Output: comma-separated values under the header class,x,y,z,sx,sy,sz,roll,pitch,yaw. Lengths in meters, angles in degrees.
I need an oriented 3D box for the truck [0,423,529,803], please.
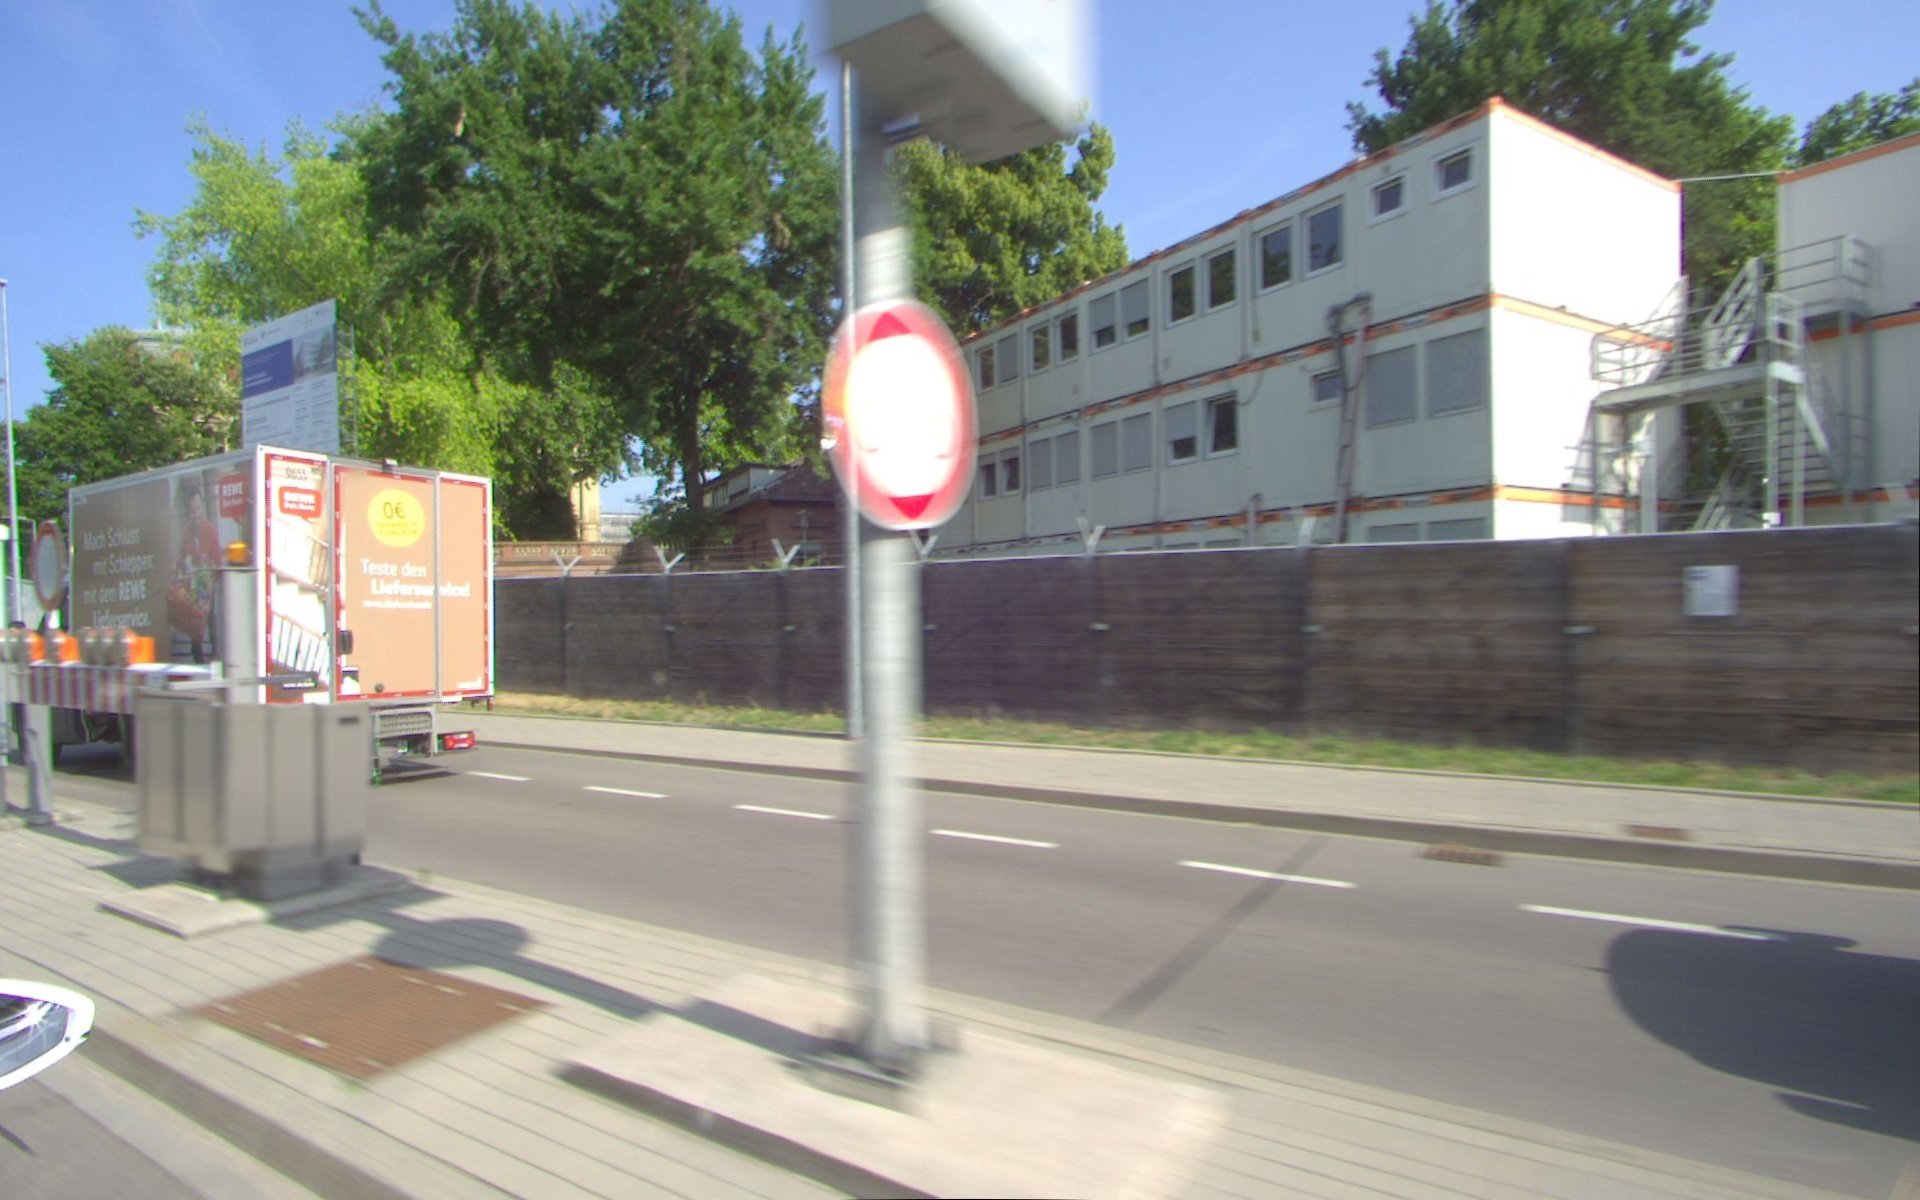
class,x,y,z,sx,sy,sz,roll,pitch,yaw
truck,-8.371,0.239,11.247,7.706,3.099,2.499,-2,-2,31
